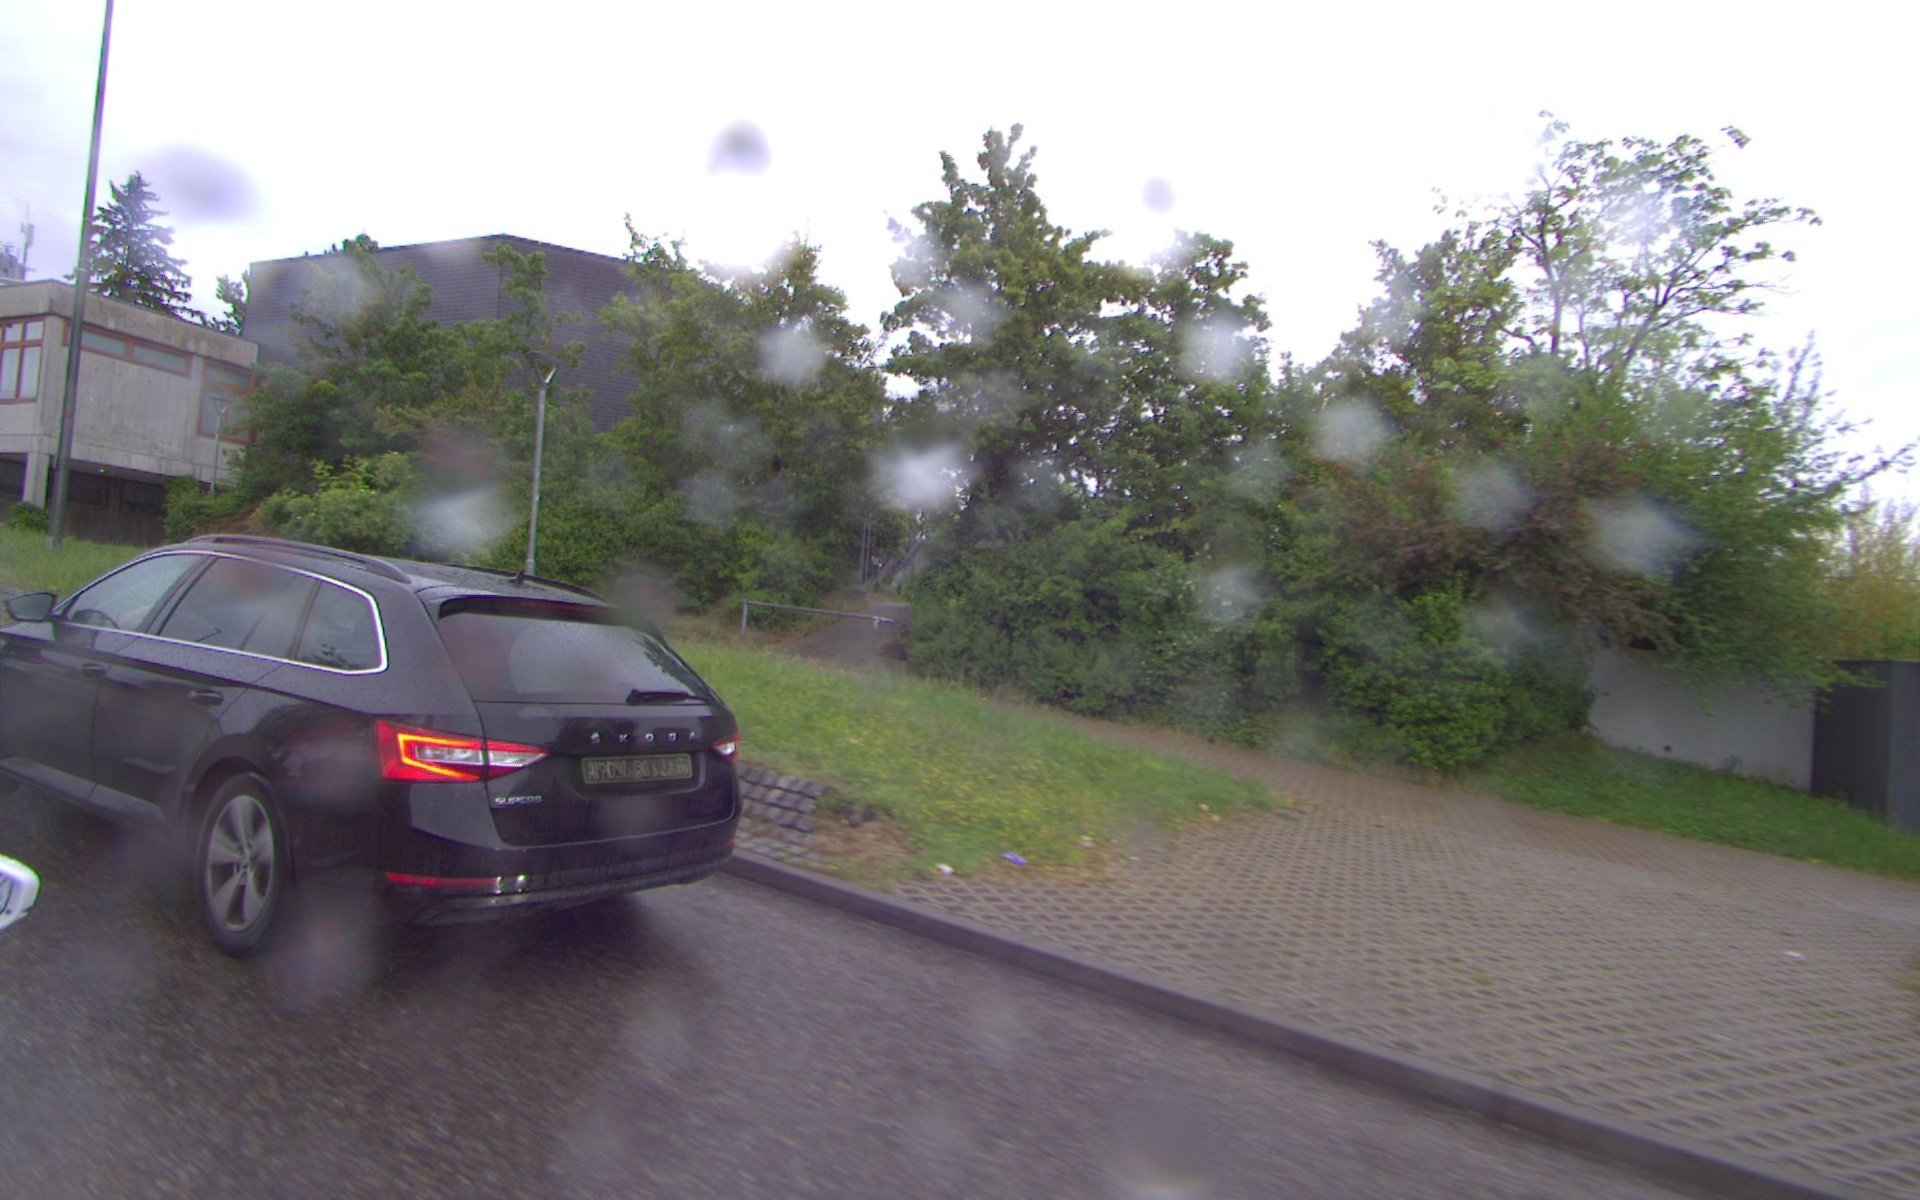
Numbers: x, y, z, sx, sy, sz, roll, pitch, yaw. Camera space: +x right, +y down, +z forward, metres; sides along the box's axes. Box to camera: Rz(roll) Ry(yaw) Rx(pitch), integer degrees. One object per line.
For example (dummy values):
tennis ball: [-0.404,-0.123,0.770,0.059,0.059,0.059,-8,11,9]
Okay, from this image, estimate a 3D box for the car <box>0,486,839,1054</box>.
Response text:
car: [-3.063,0.450,4.823,4.531,1.523,1.960,5,-4,30]
